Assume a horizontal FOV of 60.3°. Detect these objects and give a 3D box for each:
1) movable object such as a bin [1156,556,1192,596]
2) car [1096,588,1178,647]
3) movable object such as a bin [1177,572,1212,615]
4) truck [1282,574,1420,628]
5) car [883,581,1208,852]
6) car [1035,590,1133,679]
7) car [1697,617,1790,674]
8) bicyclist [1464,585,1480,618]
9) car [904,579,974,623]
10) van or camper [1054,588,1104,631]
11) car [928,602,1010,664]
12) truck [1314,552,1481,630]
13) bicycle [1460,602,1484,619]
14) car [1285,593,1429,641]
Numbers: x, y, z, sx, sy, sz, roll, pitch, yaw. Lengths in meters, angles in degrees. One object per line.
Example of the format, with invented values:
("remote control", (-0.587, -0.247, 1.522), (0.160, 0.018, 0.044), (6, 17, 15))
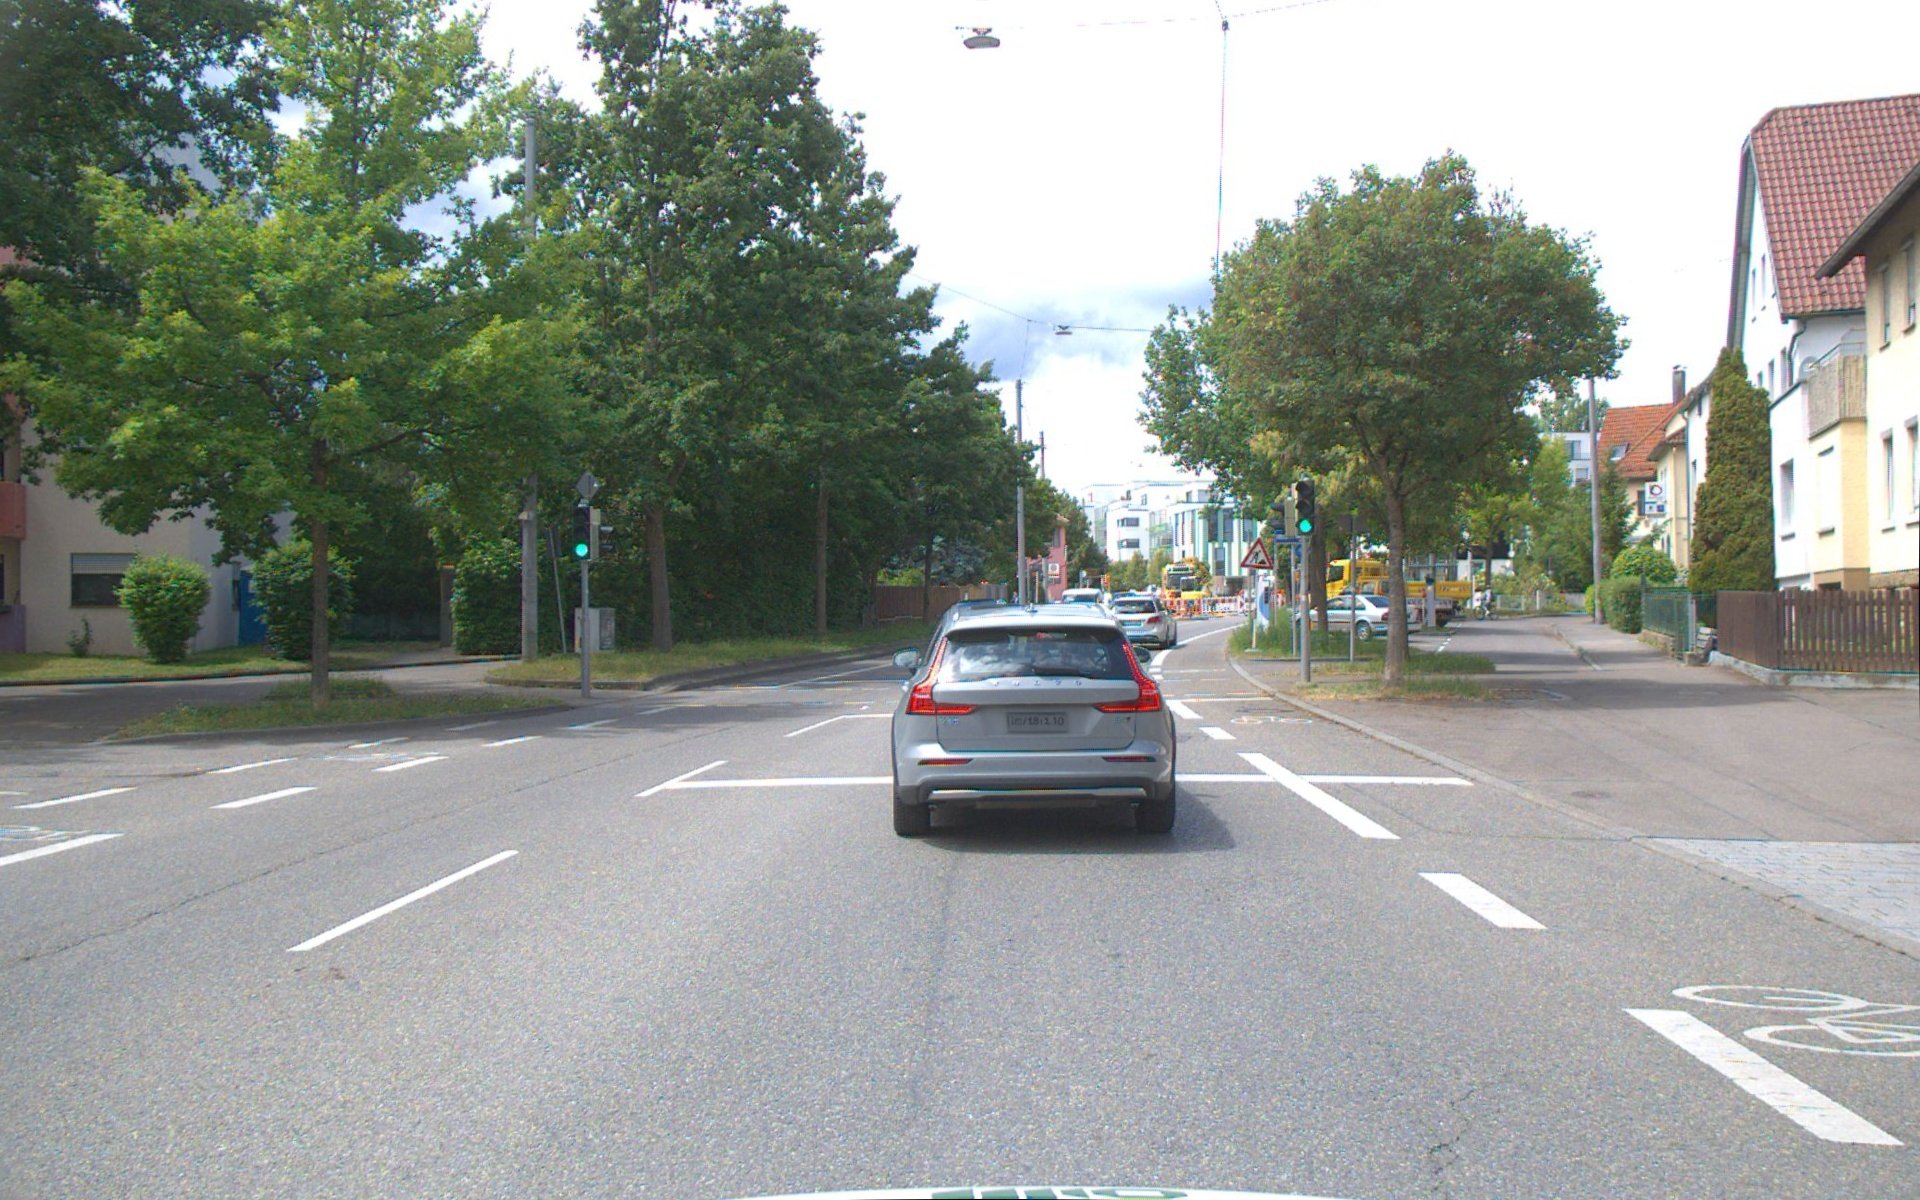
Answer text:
("movable object such as a bin", (17.003, -1.856, 131.617), (2.262, 3.042, 6.429), (-1, 0, 2))
("car", (5.137, 0.517, 47.594), (2.057, 1.536, 4.003), (2, -1, 9))
("movable object such as a bin", (15.395, -0.412, 108.324), (1.991, 2.689, 5.945), (-1, 0, 10))
("truck", (15.994, 0.029, 67.979), (1.978, 2.049, 5.606), (2, -1, -36))
("car", (0.597, 0.705, 11.746), (1.888, 1.567, 4.001), (-1, -1, 3))
("car", (2.299, 0.639, 31.424), (1.627, 1.534, 3.703), (2, -1, 2))
("car", (17.127, 0.989, 36.275), (1.432, 1.144, 3.872), (1, -1, 20))
("bicyclist", (24.596, 0.082, 79.466), (0.577, 1.586, 0.566), (2, -1, -2))
("car", (-0.680, 0.058, 57.440), (1.789, 1.353, 4.003), (1, -2, 8))
("van or camper", (5.226, 0.393, 72.406), (1.821, 1.807, 4.384), (-1, 0, 9))
("car", (0.294, 0.914, 46.076), (1.858, 1.607, 4.002), (-2, -1, 6))
("truck", (18.328, -0.377, 69.704), (2.738, 3.061, 6.625), (2, -1, -35))
("bicycle", (24.569, 0.501, 79.394), (0.582, 0.826, 1.753), (2, 0, -2))
("car", (12.683, 0.513, 53.150), (1.746, 1.477, 4.637), (0, 0, -32))
